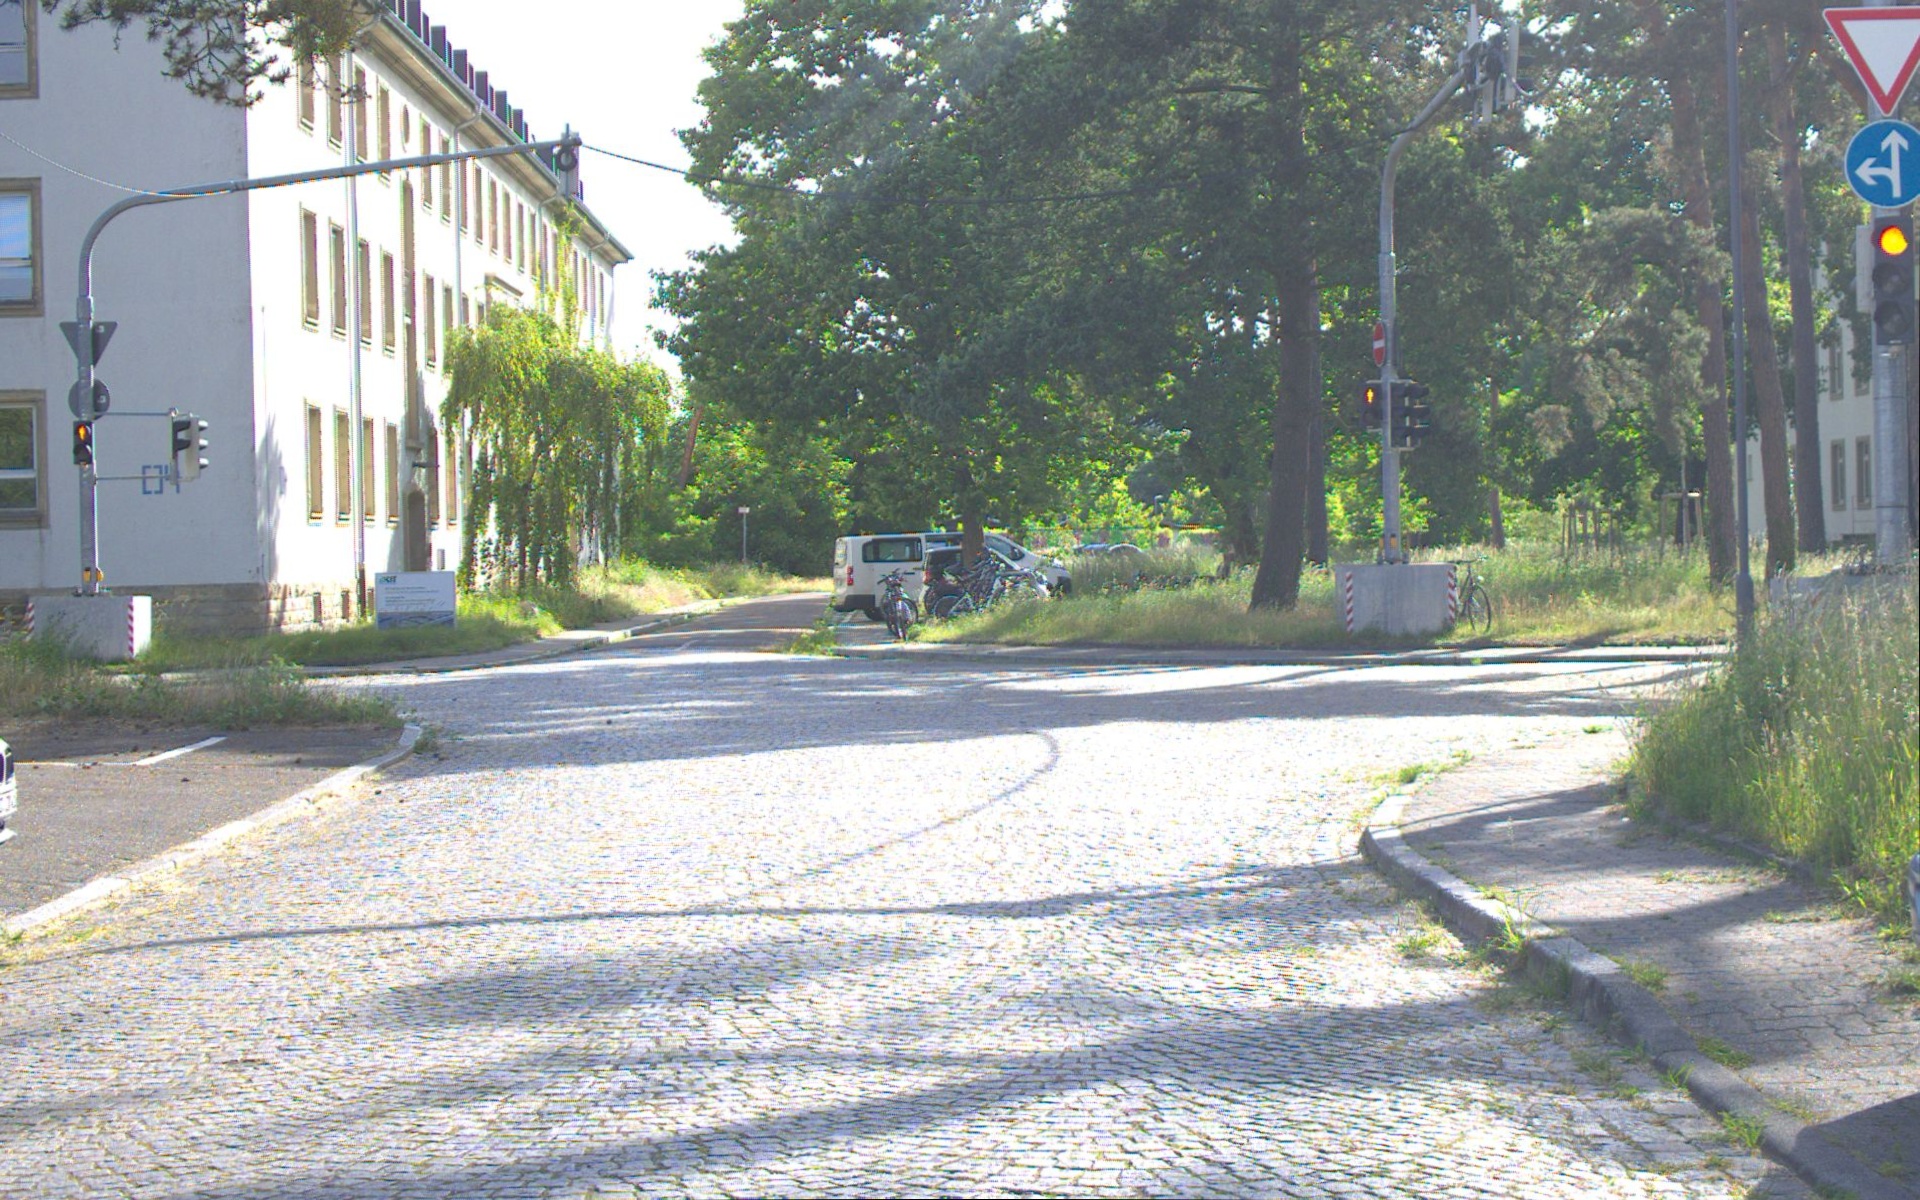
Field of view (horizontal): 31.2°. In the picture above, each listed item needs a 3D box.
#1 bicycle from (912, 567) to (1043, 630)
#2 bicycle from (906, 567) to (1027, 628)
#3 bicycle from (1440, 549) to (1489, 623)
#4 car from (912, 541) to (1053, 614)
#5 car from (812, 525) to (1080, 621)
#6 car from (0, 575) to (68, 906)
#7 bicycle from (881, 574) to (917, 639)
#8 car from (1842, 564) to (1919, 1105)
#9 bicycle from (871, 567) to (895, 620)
[{"bbox_3d":[0.294,-0.026,57.737,2.109,1.007,0.621,1,0,-8],"label":"bicycle"},{"bbox_3d":[0.108,-0.042,59.450,2.004,1.007,0.632,1,0,-8],"label":"bicycle"},{"bbox_3d":[6.691,-0.189,45.645,0.300,0.957,1.586,1,0,-4],"label":"bicycle"},{"bbox_3d":[0.455,-0.471,72.209,2.781,1.462,1.671,1,0,-5],"label":"car"},{"bbox_3d":[-0.314,-0.588,75.705,5.520,2.007,2.001,1,0,-18],"label":"car"},{"bbox_3d":[-6.511,0.599,15.892,4.333,1.463,1.831,1,1,-3],"label":"car"},{"bbox_3d":[-0.965,0.092,54.152,0.467,1.007,1.586,1,0,-4],"label":"bicycle"},{"bbox_3d":[4.438,0.547,8.819,3.882,1.410,1.637,-3,1,0],"label":"car"},{"bbox_3d":[-1.504,-0.133,67.388,0.417,1.007,1.483,1,0,0],"label":"bicycle"}]
